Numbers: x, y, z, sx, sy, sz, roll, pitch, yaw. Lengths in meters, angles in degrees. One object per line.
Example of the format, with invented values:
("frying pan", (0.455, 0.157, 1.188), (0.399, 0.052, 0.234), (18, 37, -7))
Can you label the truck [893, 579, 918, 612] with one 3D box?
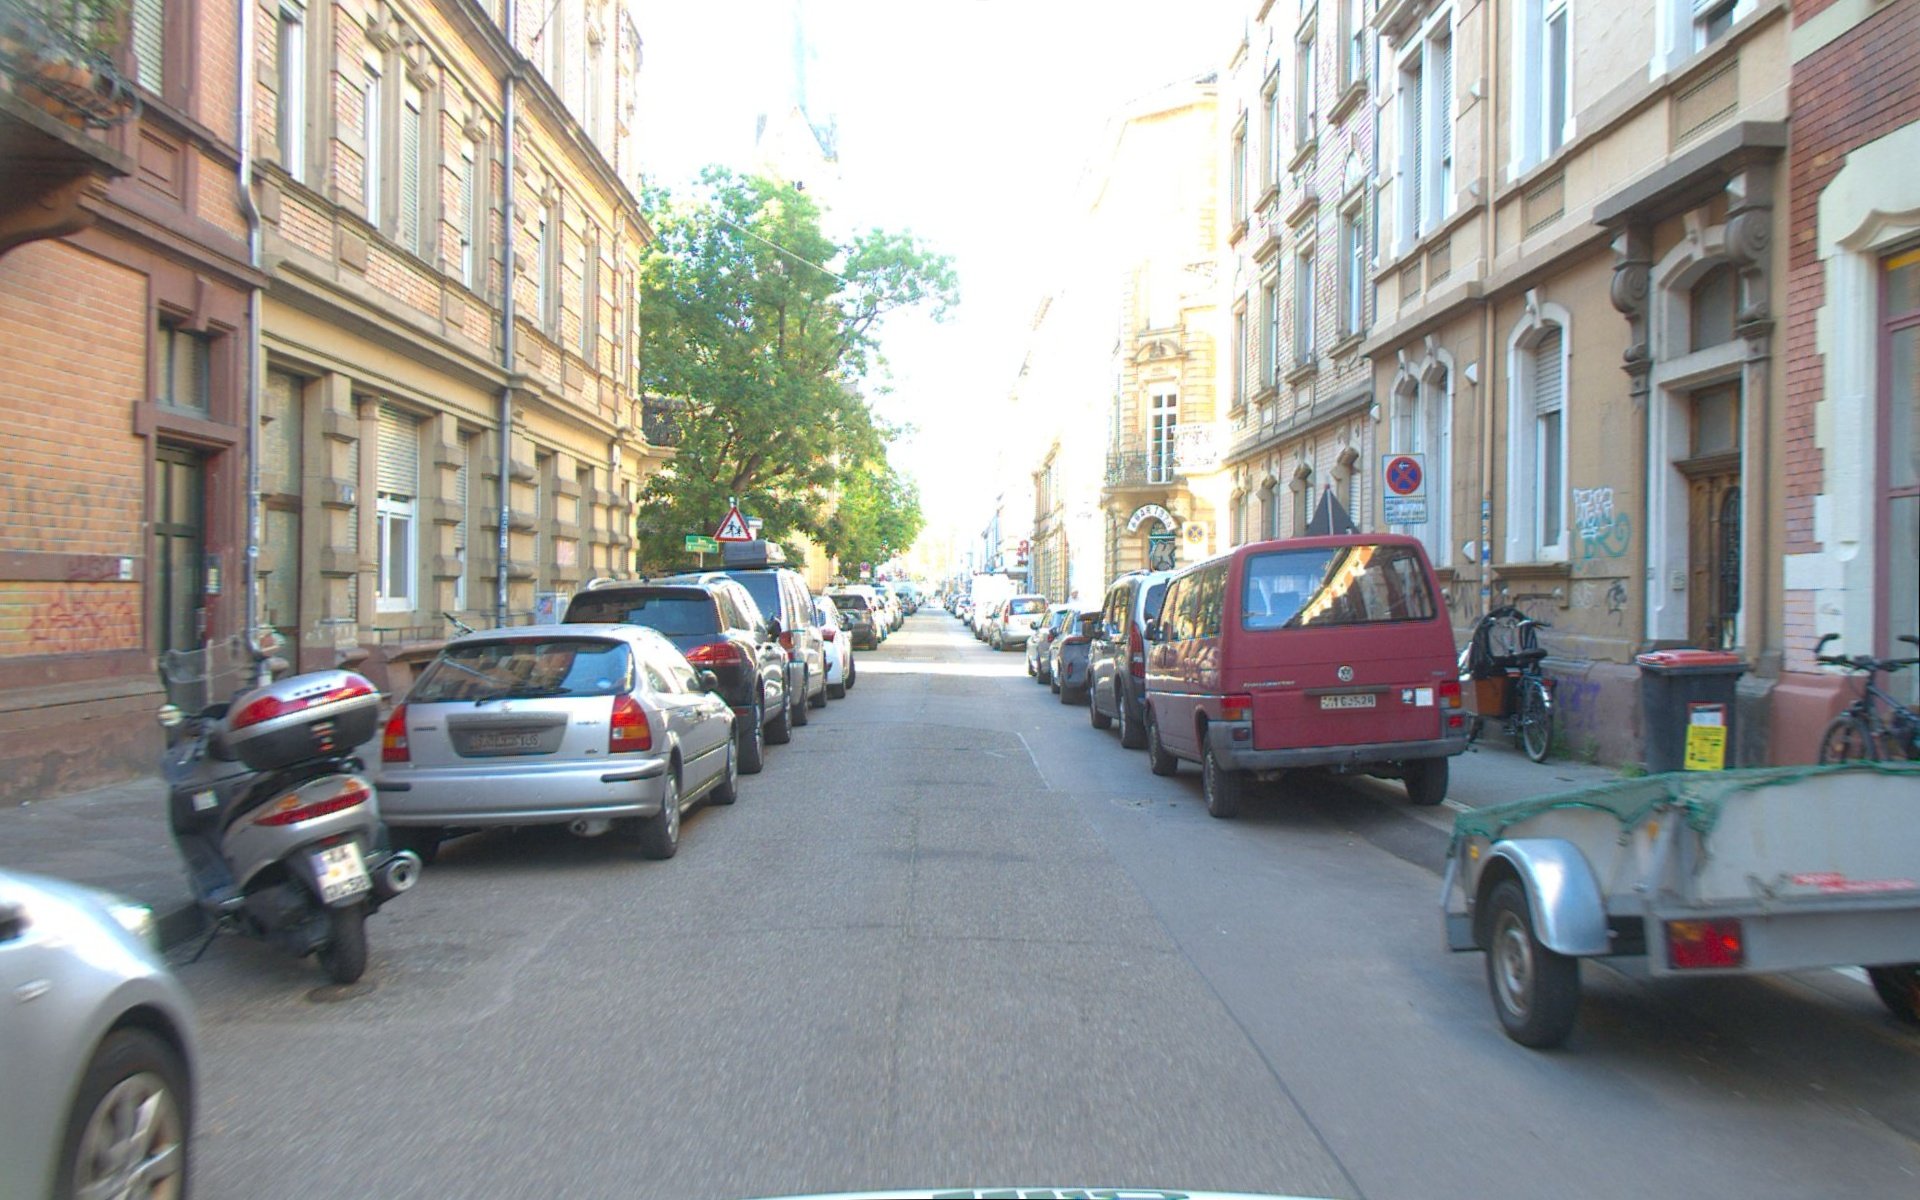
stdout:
("truck", (-5.750, -0.467, 174.829), (2.480, 3.339, 6.993), (0, 0, -1))

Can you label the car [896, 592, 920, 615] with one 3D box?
("car", (-4.260, 0.274, 136.361), (1.837, 1.828, 3.999), (0, 0, -1))

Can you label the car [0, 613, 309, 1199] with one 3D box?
("car", (-2.473, 0.776, 2.290), (1.640, 1.443, 3.999), (-1, 0, -2))

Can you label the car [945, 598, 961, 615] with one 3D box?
("car", (-0.831, 0.738, 200.996), (1.953, 2.049, 3.999), (0, 0, -1))

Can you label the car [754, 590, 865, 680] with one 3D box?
("car", (-2.732, 0.613, 30.831), (1.687, 1.507, 4.089), (2, 0, -1))

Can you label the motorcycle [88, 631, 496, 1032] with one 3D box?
("motorcycle", (-2.863, 0.850, 6.934), (0.838, 1.384, 2.162), (-2, 0, -43))

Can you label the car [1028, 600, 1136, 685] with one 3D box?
("car", (2.285, 0.763, 32.041), (1.671, 1.484, 4.510), (2, 0, -1))

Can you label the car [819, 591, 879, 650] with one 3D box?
("car", (-3.248, 0.563, 48.910), (1.706, 1.675, 4.286), (0, 0, -3))

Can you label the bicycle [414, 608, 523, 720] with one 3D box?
("bicycle", (-5.495, 0.690, 18.593), (0.653, 1.145, 1.785), (3, 0, 0))

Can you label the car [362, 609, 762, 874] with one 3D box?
("car", (-2.409, 0.784, 11.029), (1.664, 1.337, 3.999), (4, 0, -1))

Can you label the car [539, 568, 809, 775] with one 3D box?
("car", (-2.569, 0.586, 15.943), (1.751, 1.652, 4.607), (2, 0, 0))

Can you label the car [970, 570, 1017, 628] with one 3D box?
("car", (1.583, -0.062, 80.198), (2.026, 2.656, 5.887), (1, 0, -1))

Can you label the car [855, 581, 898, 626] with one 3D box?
("car", (-3.802, 0.157, 76.182), (1.826, 1.991, 4.609), (-1, 0, -2))

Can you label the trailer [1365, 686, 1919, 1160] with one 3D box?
("trailer", (2.720, 1.024, 6.225), (1.475, 1.132, 3.038), (4, 0, -3))

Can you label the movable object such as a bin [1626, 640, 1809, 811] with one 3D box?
("movable object such as a bin", (5.203, 0.843, 11.402), (0.878, 1.080, 0.722), (-2, 0, -3))

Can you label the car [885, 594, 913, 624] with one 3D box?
("car", (-3.563, 0.528, 97.234), (1.568, 1.642, 3.807), (-2, 0, -2))

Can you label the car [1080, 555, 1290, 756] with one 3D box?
("car", (2.449, 0.565, 19.027), (1.733, 1.995, 4.263), (2, 0, -1))

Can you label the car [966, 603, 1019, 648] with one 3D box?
("car", (1.176, 0.915, 61.306), (1.541, 1.551, 3.904), (3, 0, -5))

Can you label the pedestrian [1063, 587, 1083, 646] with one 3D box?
("pedestrian", (3.413, 0.493, 49.915), (0.562, 1.763, 0.664), (-1, 0, 1))

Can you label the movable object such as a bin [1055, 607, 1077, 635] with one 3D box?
("movable object such as a bin", (4.122, 0.812, 64.403), (0.543, 1.071, 0.596), (-3, 0, -34))

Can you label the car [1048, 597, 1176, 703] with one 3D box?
("car", (2.340, 0.732, 26.235), (1.632, 1.505, 3.887), (0, 1, -1))

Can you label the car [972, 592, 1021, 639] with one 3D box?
("car", (1.409, 0.606, 65.327), (1.771, 1.719, 4.213), (2, 0, 0))

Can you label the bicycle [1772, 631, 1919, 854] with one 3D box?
("bicycle", (5.569, 0.798, 9.606), (0.687, 1.141, 1.898), (-3, 1, -1))

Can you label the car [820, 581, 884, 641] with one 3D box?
("car", (-3.521, 0.329, 54.476), (1.807, 1.895, 4.465), (0, 0, 0))

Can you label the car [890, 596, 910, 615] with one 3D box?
("car", (-5.749, 0.508, 158.364), (1.838, 1.828, 3.997), (0, 0, -4))

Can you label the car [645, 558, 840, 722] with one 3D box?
("car", (-2.653, 0.456, 21.194), (1.854, 1.816, 4.607), (2, 0, 0))

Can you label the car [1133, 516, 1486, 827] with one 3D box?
("car", (2.619, 0.481, 13.589), (1.795, 2.049, 4.741), (2, 0, -1))

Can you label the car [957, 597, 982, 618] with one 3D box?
("car", (0.683, 0.549, 124.527), (1.859, 1.514, 3.869), (0, 0, -1))

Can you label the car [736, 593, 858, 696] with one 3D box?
("car", (-2.489, 0.640, 25.977), (1.640, 1.445, 3.873), (2, 0, -2))

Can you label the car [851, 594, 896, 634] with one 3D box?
("car", (-3.654, 0.567, 70.406), (1.707, 1.614, 3.868), (1, 0, -1))

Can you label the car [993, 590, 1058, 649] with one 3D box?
("car", (1.971, 0.563, 50.790), (1.669, 1.744, 3.936), (0, 0, -3))

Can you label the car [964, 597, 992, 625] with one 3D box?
("car", (1.035, 0.642, 96.178), (1.571, 1.531, 4.000), (2, 0, 0))

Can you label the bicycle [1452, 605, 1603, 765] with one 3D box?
("bicycle", (5.098, 0.727, 14.974), (0.712, 1.326, 1.692), (-3, 0, -1))

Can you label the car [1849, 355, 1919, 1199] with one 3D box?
("car", (2.670, 0.607, 0.899), (1.807, 2.018, 4.575), (3, 0, -1))
